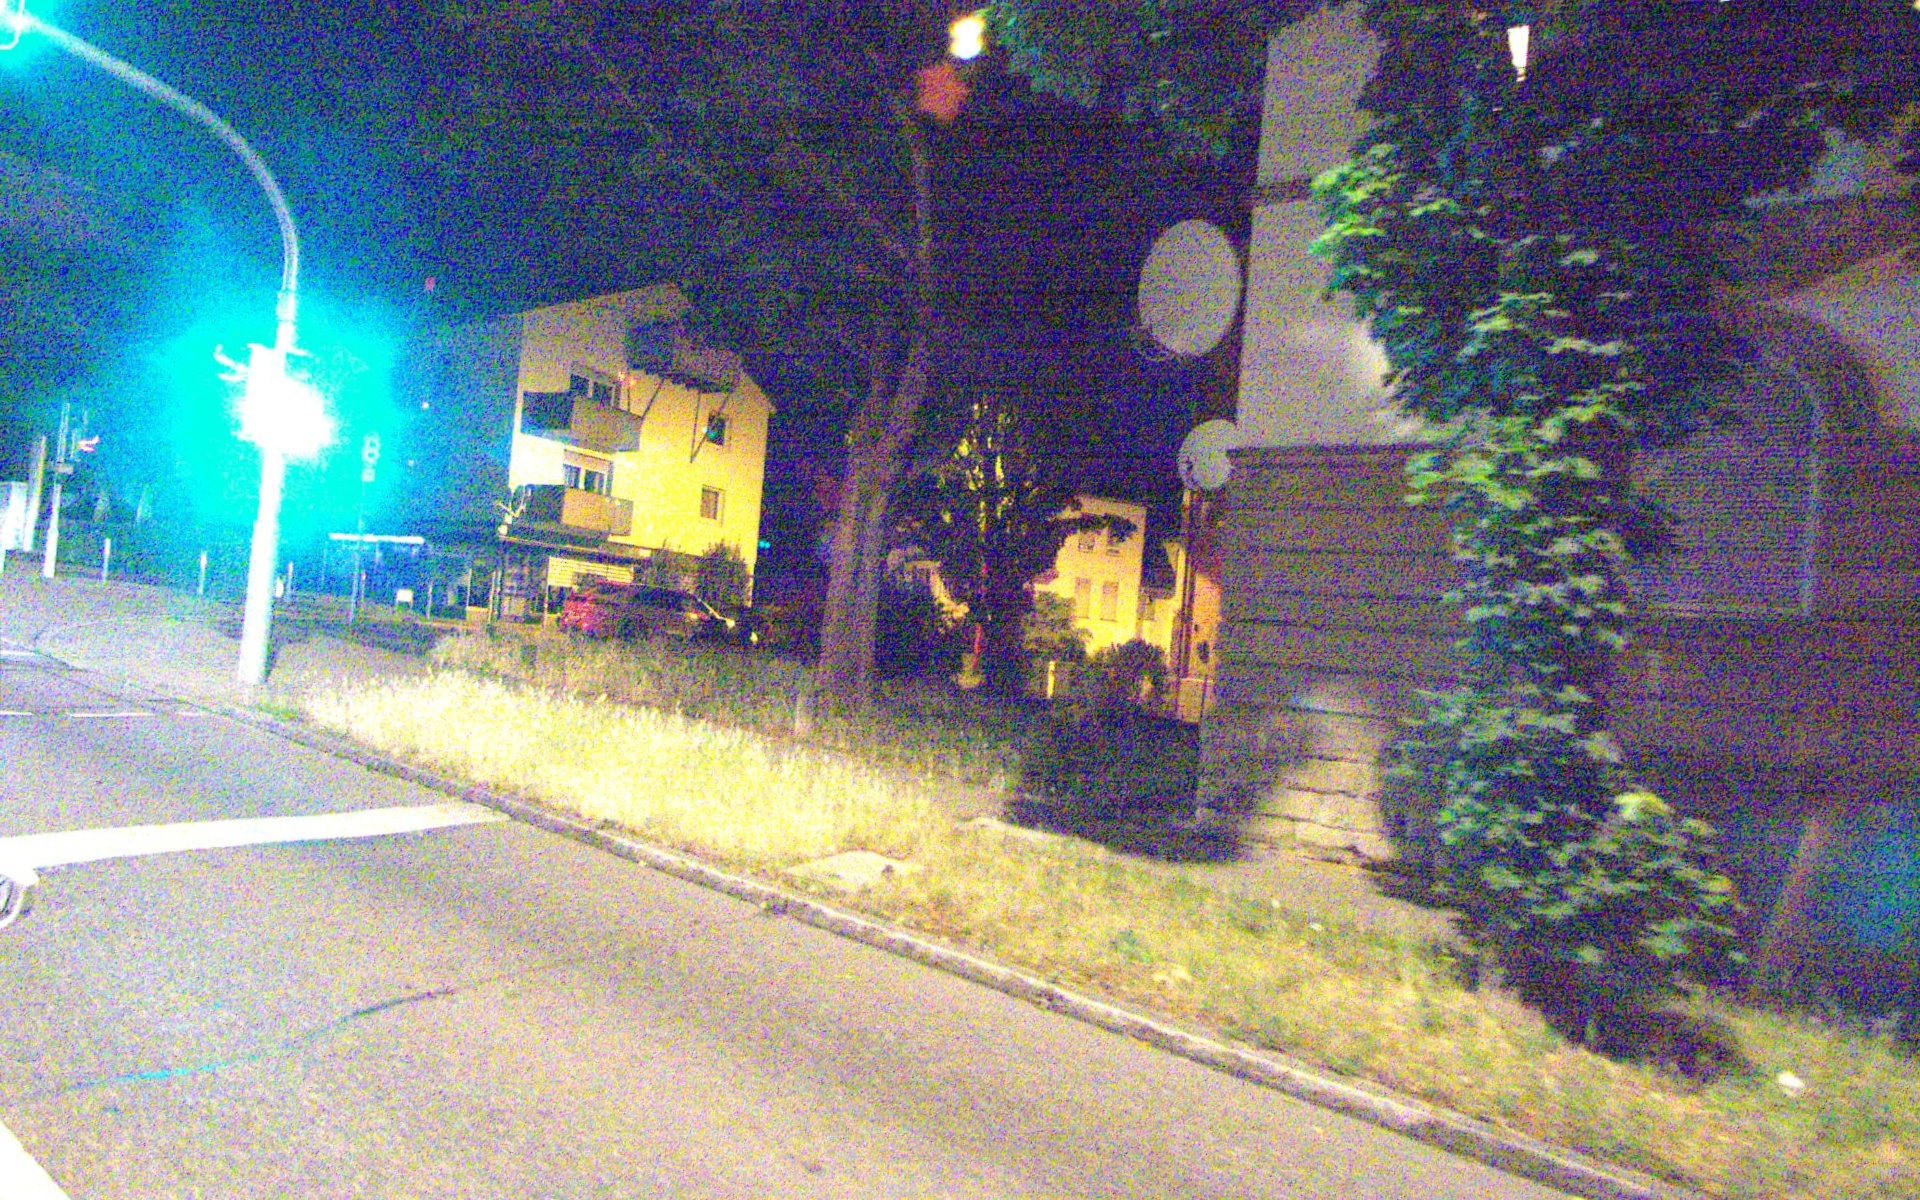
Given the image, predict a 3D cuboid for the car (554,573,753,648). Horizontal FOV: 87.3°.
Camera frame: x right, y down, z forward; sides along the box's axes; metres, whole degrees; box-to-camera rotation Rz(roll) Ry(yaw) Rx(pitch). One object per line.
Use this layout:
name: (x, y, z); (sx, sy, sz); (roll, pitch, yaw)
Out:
car: (-7.072, 0.285, 23.586); (1.740, 1.296, 4.128); (6, -1, 39)
